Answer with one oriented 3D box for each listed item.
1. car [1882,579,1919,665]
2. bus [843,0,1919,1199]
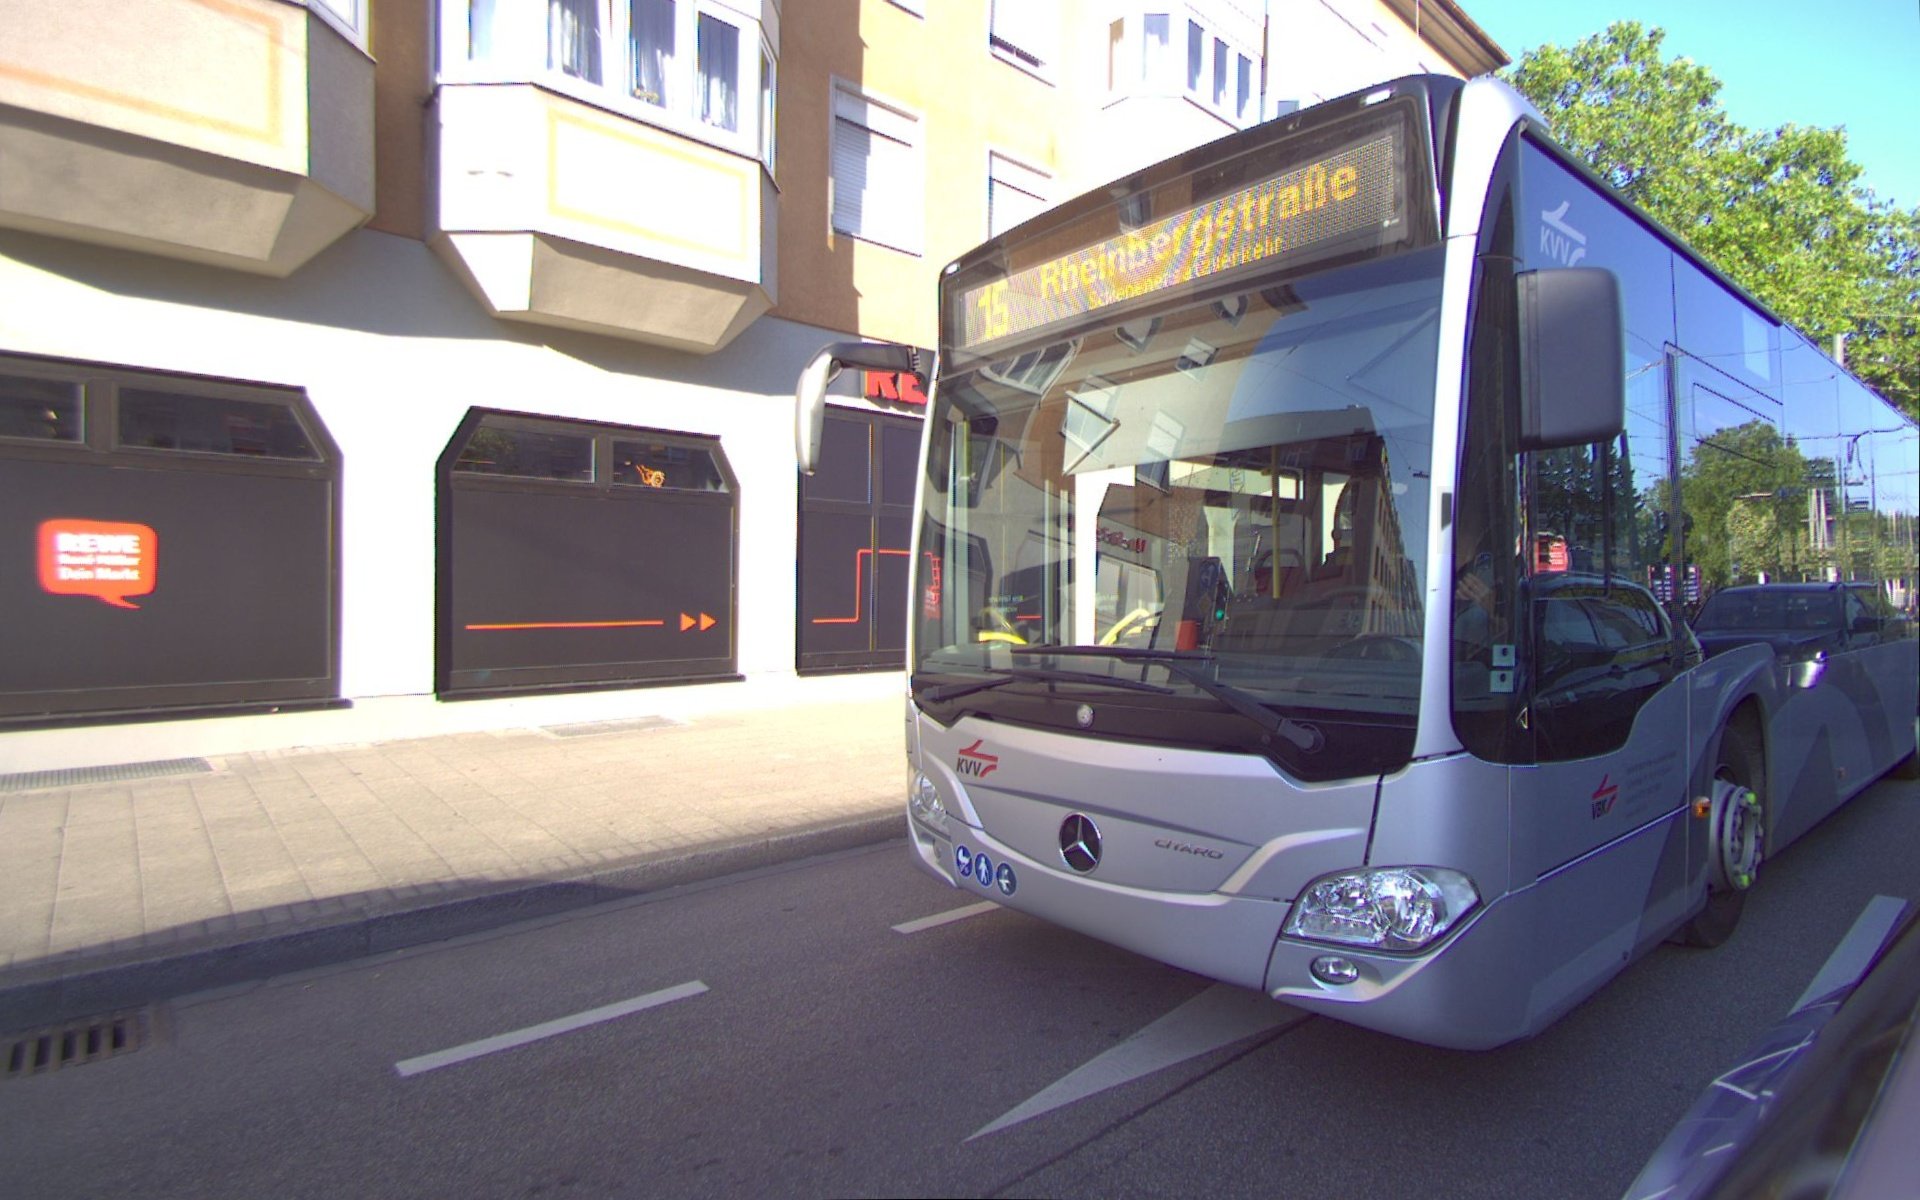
[{"bbox_3d":[19.870,0.393,20.282,3.760,1.627,1.747,-1,1,-43],"label":"car"},{"bbox_3d":[6.945,-0.261,9.014,17.433,3.189,2.771,-1,1,-41],"label":"bus"}]
